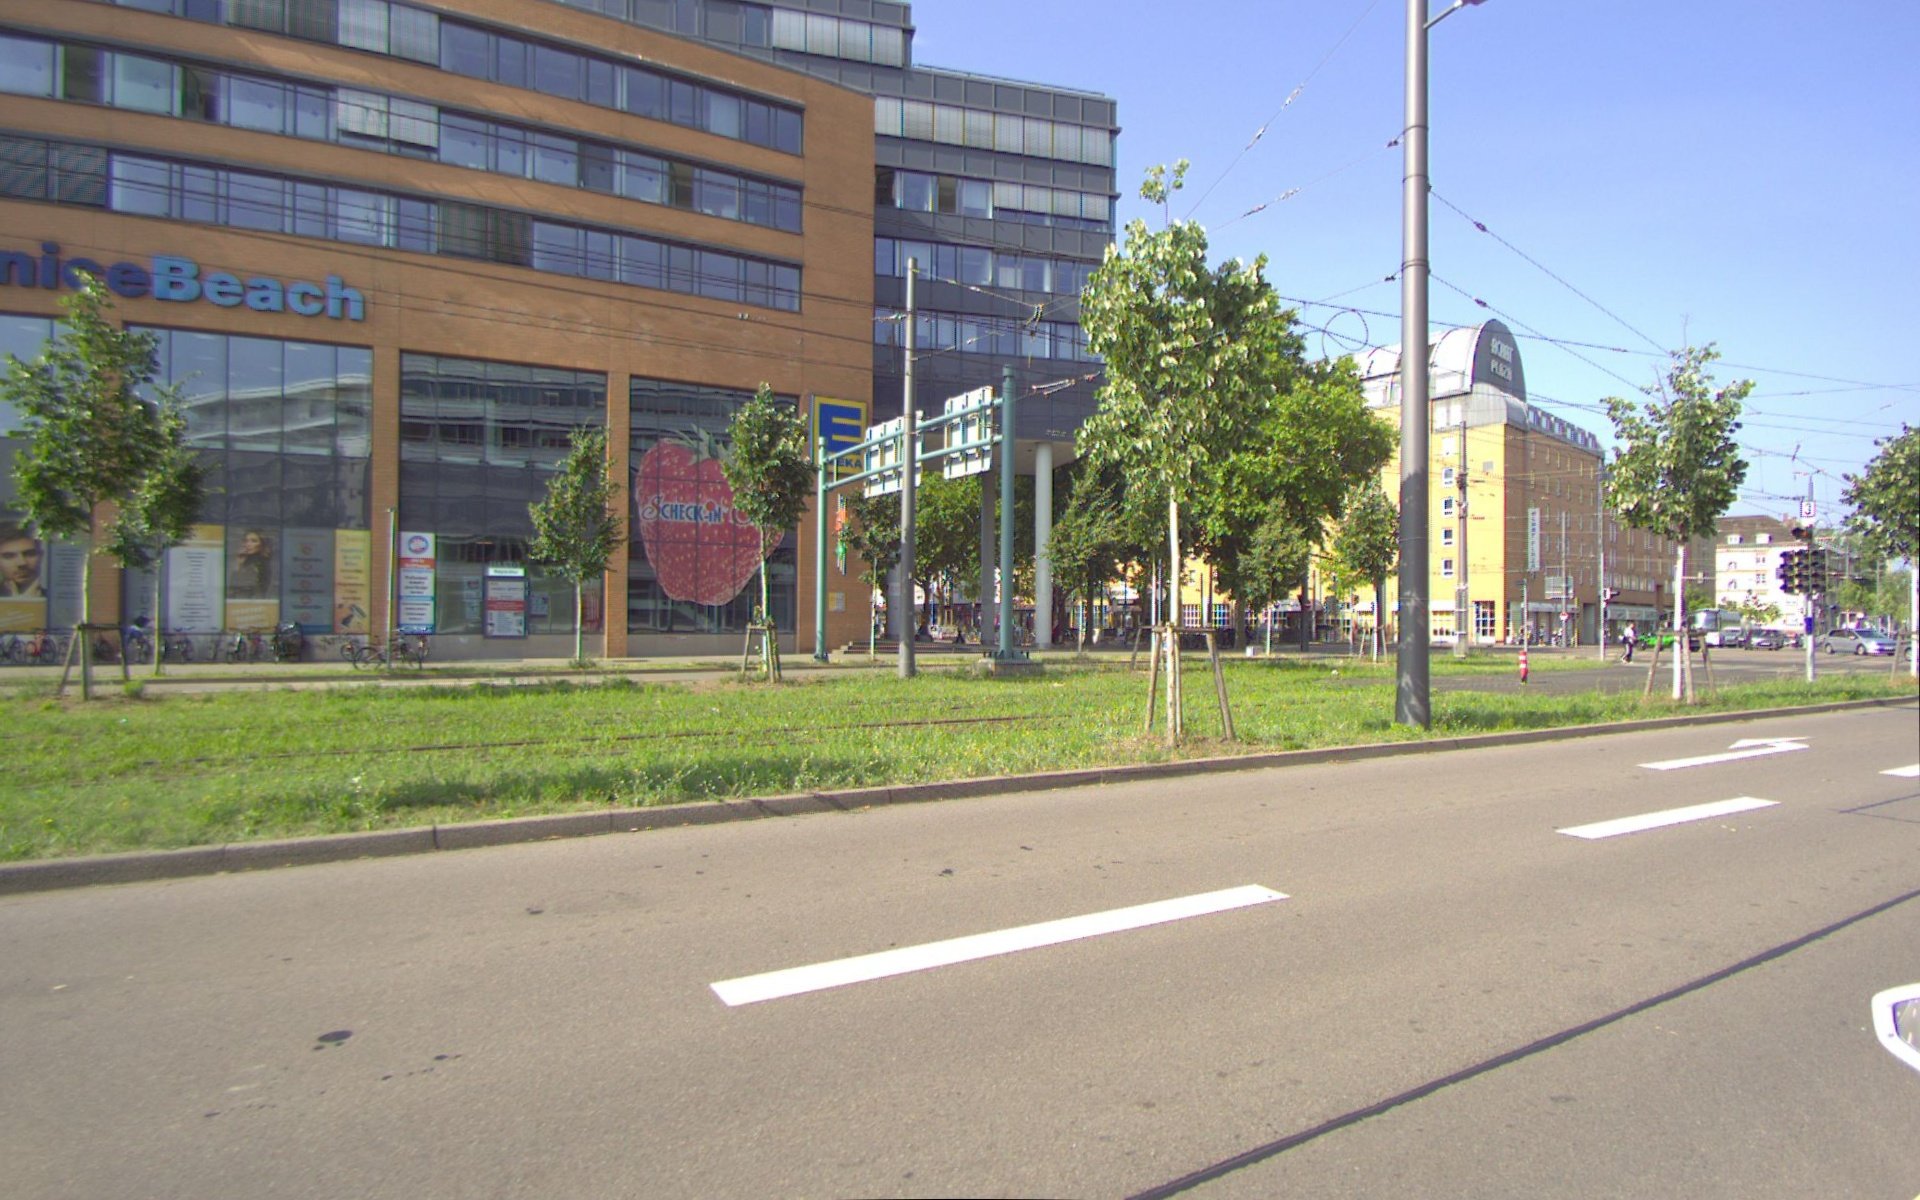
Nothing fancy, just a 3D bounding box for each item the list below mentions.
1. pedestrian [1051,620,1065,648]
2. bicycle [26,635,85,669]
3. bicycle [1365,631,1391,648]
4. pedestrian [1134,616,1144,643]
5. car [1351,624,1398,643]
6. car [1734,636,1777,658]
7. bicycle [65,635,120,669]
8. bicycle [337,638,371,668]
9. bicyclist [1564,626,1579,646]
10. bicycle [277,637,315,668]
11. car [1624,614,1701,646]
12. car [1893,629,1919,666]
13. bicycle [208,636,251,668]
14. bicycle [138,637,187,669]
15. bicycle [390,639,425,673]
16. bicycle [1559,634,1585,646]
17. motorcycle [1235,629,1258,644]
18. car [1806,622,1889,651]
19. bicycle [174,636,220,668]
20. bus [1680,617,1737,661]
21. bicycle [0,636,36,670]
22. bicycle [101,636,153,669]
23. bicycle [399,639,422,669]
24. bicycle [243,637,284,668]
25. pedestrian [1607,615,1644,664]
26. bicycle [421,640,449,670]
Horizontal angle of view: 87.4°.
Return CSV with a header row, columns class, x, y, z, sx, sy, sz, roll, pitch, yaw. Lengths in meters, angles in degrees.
class,x,y,z,sx,sy,sz,roll,pitch,yaw
pedestrian,5.549,1.916,56.965,0.652,1.563,0.617,1,-1,-14
bicycle,-26.969,1.533,29.988,0.565,0.934,2.045,1,-1,-20
bicycle,31.878,2.995,76.537,2.260,1.222,0.546,3,-2,-30
pedestrian,13.759,2.253,77.161,0.535,2.040,0.485,3,-2,-40
car,37.719,3.045,91.505,1.852,1.645,3.583,1,-1,-39
car,57.945,3.432,73.244,1.671,1.512,3.599,-2,-2,26
bicycle,-26.194,1.556,30.363,0.565,0.934,2.045,1,-1,-20
bicycle,-19.870,1.729,32.968,0.565,0.934,2.045,1,-1,-20
bicyclist,54.008,3.164,88.697,0.976,1.718,0.667,0,-2,43
bicycle,-21.454,1.676,32.503,0.565,0.934,2.045,1,-1,-20
car,46.261,1.984,66.247,1.964,2.040,3.995,2,-2,-9
car,47.318,2.304,47.959,1.680,1.778,3.884,1,-2,-10
bicycle,-23.047,1.634,31.732,0.565,0.934,2.045,1,-1,-20
bicycle,-24.587,1.613,31.013,0.565,0.934,2.045,1,-1,-20
bicycle,-16.086,1.615,29.263,0.700,0.919,1.671,2,-1,-23
bicycle,54.005,3.531,88.686,1.939,0.982,0.417,0,-3,43
motorcycle,19.673,2.512,68.941,0.282,1.008,1.676,3,-2,-39
car,54.252,2.204,61.499,1.656,1.656,4.395,-1,-1,8
bicycle,-23.828,1.604,31.402,0.565,0.934,2.045,1,-1,-20
bus,71.995,3.794,96.491,2.718,3.972,12.142,0,-3,45
bicycle,-28.041,1.548,29.519,0.565,0.934,2.045,1,-1,-20
bicycle,-25.426,1.574,30.676,0.565,0.934,2.045,1,-1,-20
bicycle,-18.423,1.806,33.704,0.375,0.934,2.045,1,-1,-20
bicycle,-22.259,1.671,32.124,0.565,0.934,2.045,1,-1,-20
pedestrian,28.353,1.692,42.787,0.771,2.040,1.144,3,-2,-43
bicycle,-17.764,1.836,34.011,0.565,0.934,2.045,1,-1,-20
